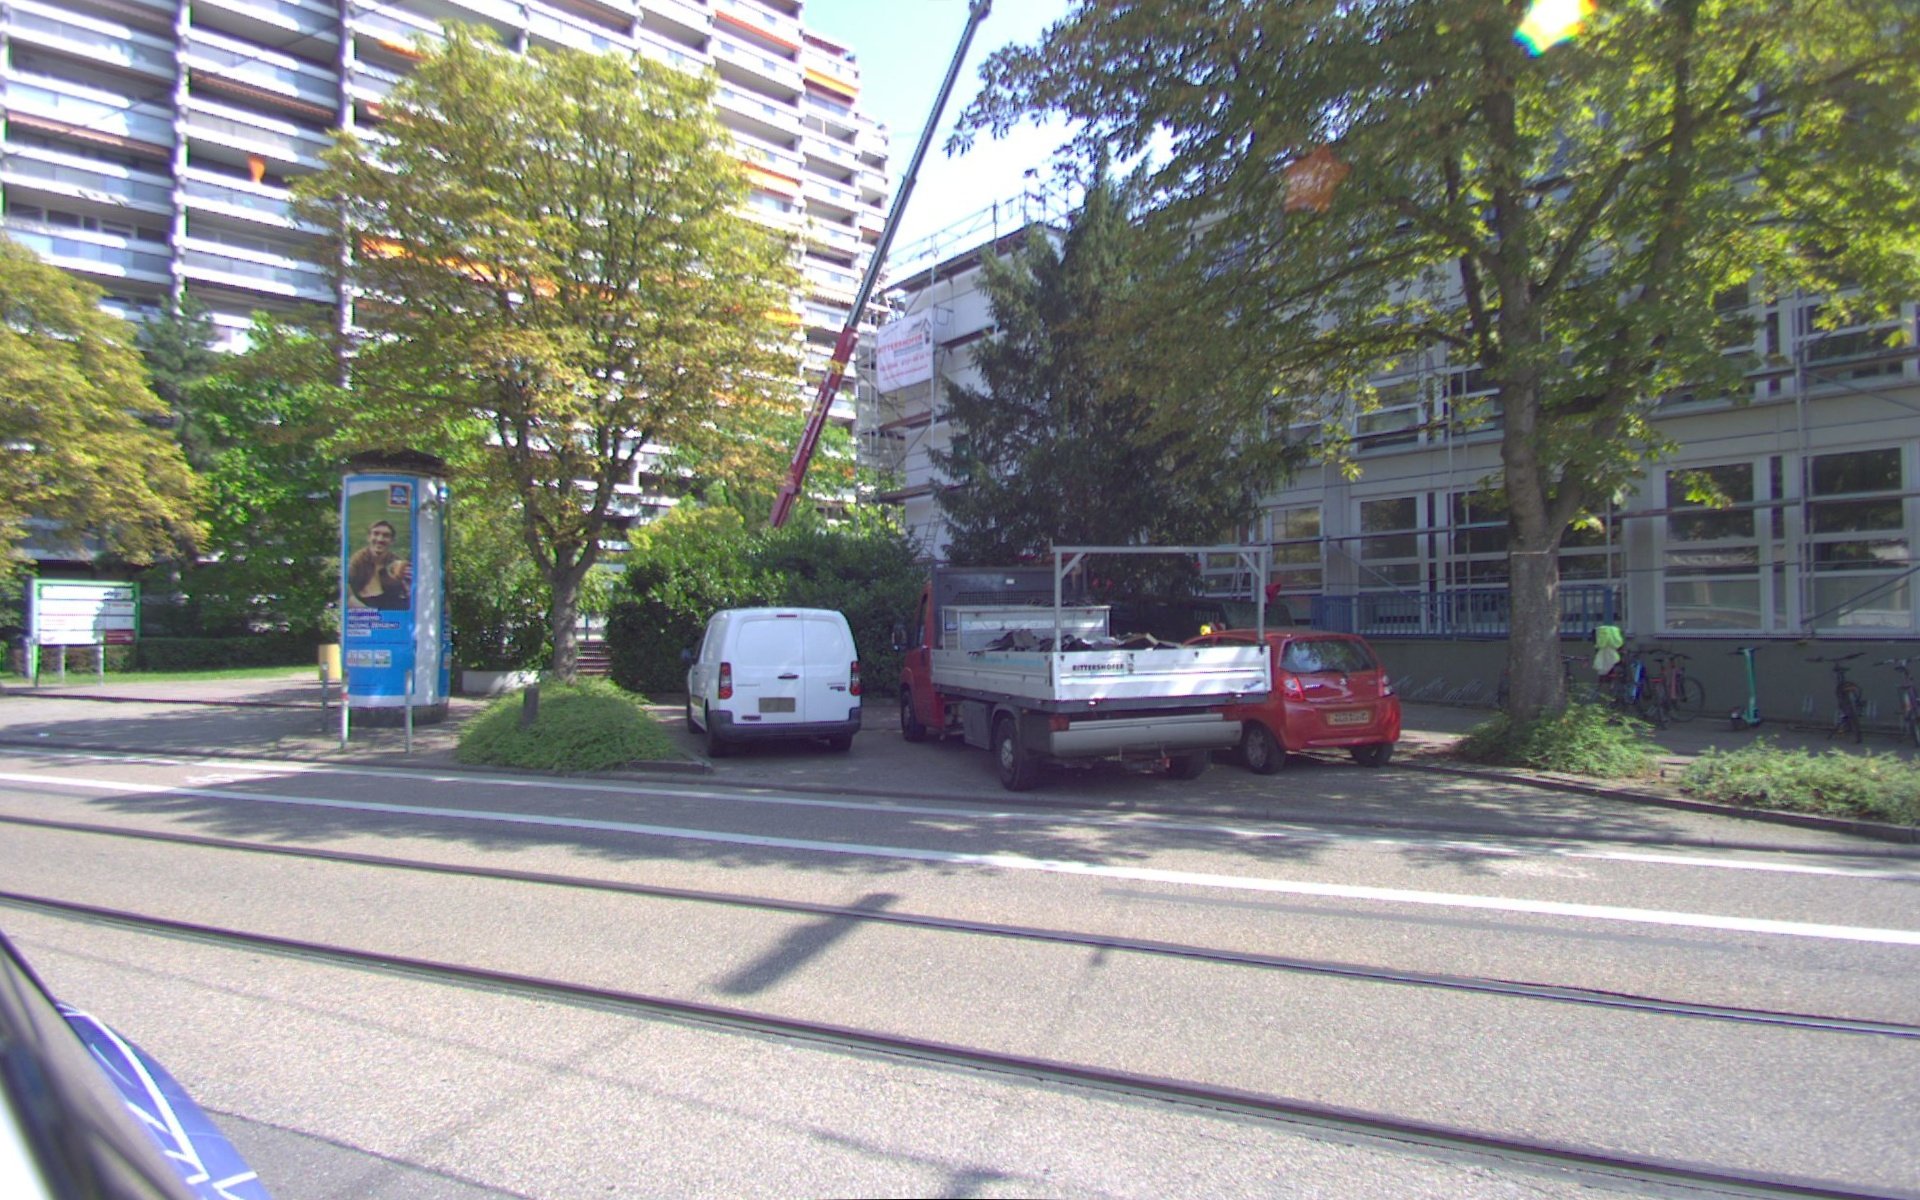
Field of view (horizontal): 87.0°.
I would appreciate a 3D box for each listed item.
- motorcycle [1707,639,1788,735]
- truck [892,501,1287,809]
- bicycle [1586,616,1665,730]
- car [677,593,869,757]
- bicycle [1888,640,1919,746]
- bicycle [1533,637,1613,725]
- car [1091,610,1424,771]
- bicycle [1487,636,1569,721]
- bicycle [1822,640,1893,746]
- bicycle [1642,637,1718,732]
[{"bbox_3d":[11.111,1.179,14.257,0.744,1.163,1.978,-1,0,42],"label":"motorcycle"},{"bbox_3d":[0.933,0.512,11.235,2.114,2.453,5.986,0,-2,-16],"label":"truck"},{"bbox_3d":[9.930,1.027,15.067,0.602,1.537,2.313,-1,0,42],"label":"bicycle"},{"bbox_3d":[-2.637,0.902,13.391,1.794,1.785,4.299,0,-2,-20],"label":"car"},{"bbox_3d":[12.379,1.155,12.928,0.621,1.178,2.315,-1,0,40],"label":"bicycle"},{"bbox_3d":[9.426,1.194,15.516,0.602,1.168,2.313,-1,0,42],"label":"bicycle"},{"bbox_3d":[3.194,0.939,11.731,1.691,1.519,3.872,1,-2,-21],"label":"car"},{"bbox_3d":[8.975,1.191,15.950,0.602,1.168,2.313,-1,0,42],"label":"bicycle"},{"bbox_3d":[11.825,1.172,13.375,0.621,1.178,2.314,-1,0,40],"label":"bicycle"},{"bbox_3d":[10.419,1.172,14.613,0.602,1.178,2.313,-1,0,42],"label":"bicycle"}]
